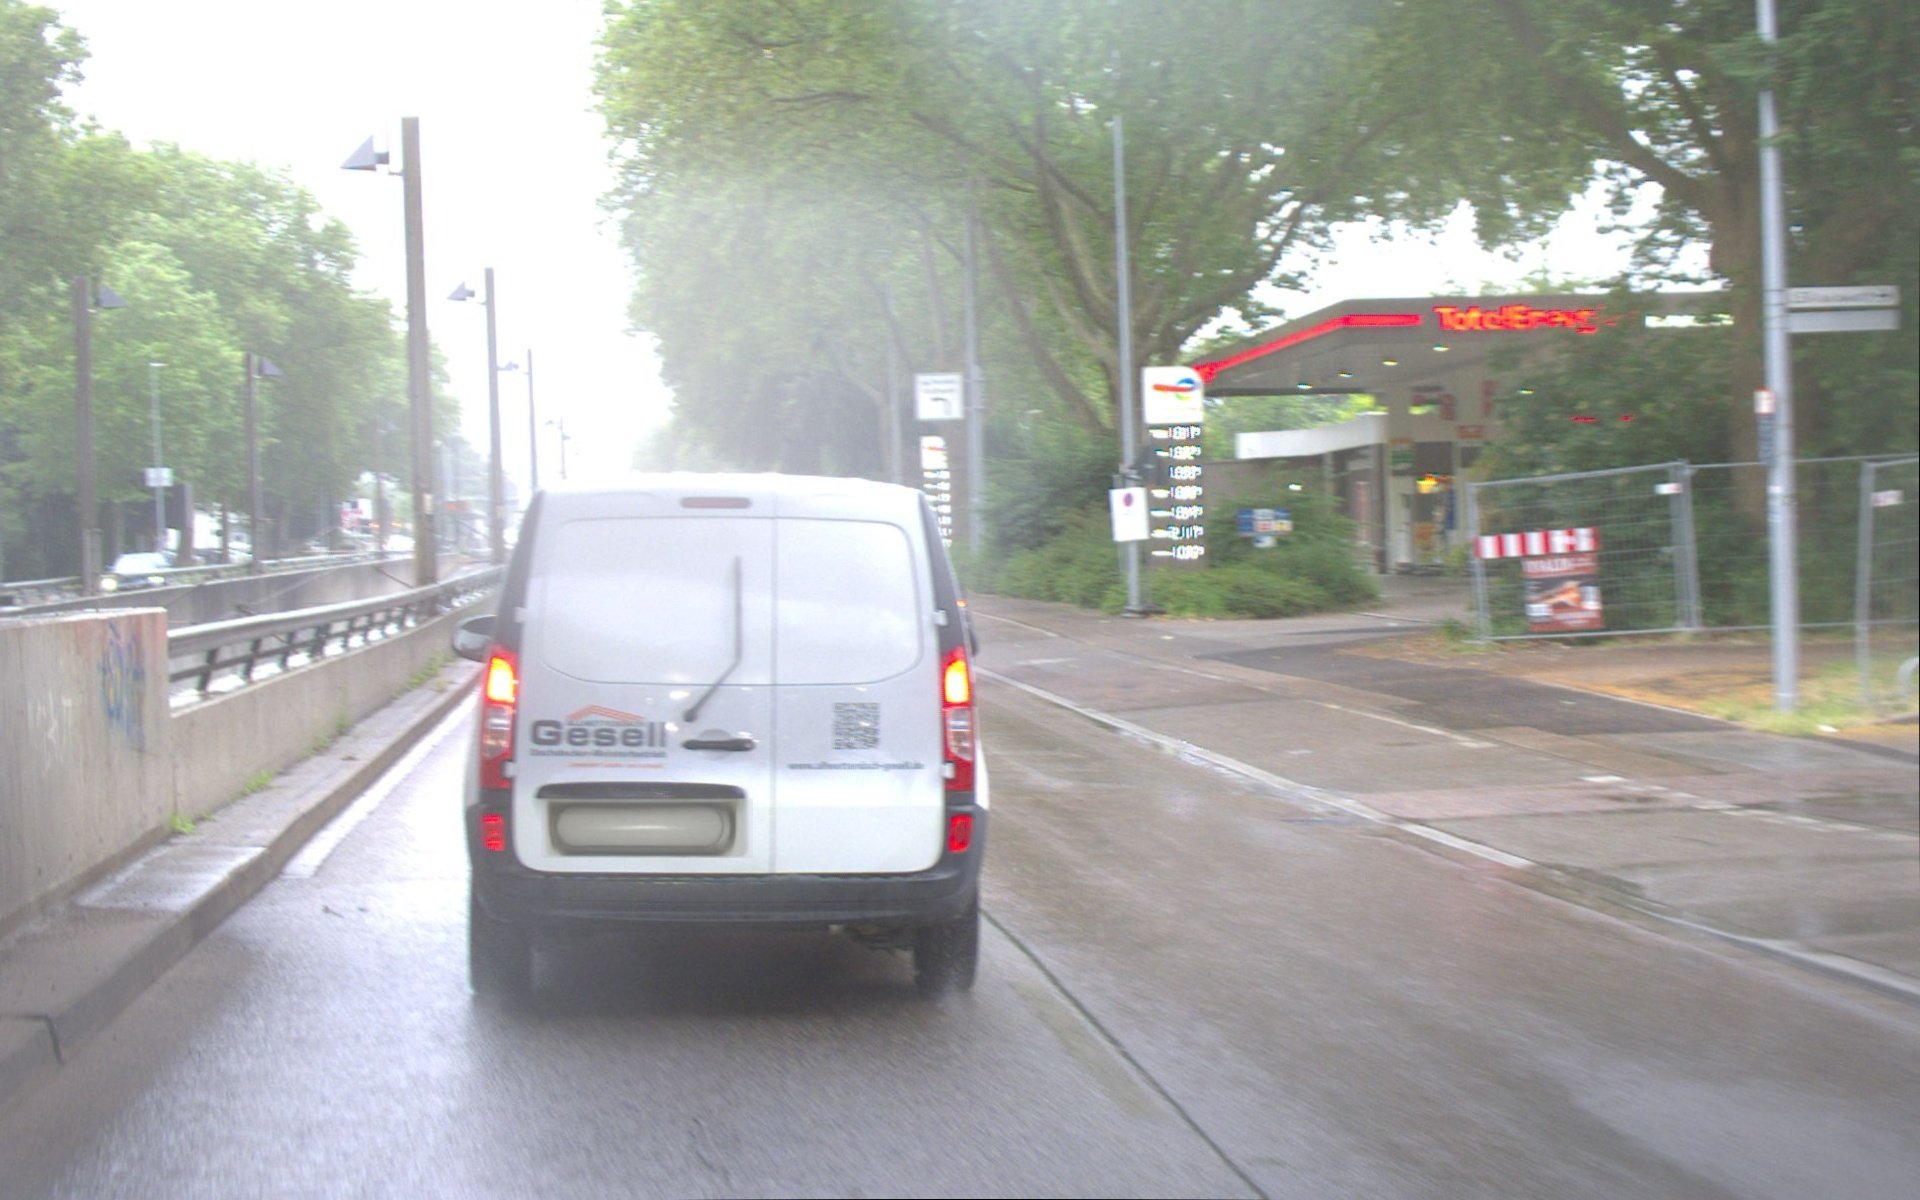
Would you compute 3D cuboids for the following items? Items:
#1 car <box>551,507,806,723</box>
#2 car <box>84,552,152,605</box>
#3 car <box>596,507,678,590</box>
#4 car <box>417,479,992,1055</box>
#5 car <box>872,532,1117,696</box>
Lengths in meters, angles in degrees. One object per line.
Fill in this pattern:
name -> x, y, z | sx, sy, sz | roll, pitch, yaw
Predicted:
car -> -2.390, 0.093, 28.782 | 1.917, 1.603, 4.001 | -2, 1, -6
car -> -27.025, -0.710, 110.479 | 1.907, 1.565, 4.001 | -2, 1, -11
car -> -8.625, -1.378, 92.110 | 2.048, 2.133, 4.001 | -2, 1, -4
car -> -1.060, 0.544, 12.993 | 1.755, 1.771, 4.001 | 3, 0, -7
car -> 0.306, 0.119, 36.968 | 1.993, 1.579, 4.001 | -3, 1, -8
